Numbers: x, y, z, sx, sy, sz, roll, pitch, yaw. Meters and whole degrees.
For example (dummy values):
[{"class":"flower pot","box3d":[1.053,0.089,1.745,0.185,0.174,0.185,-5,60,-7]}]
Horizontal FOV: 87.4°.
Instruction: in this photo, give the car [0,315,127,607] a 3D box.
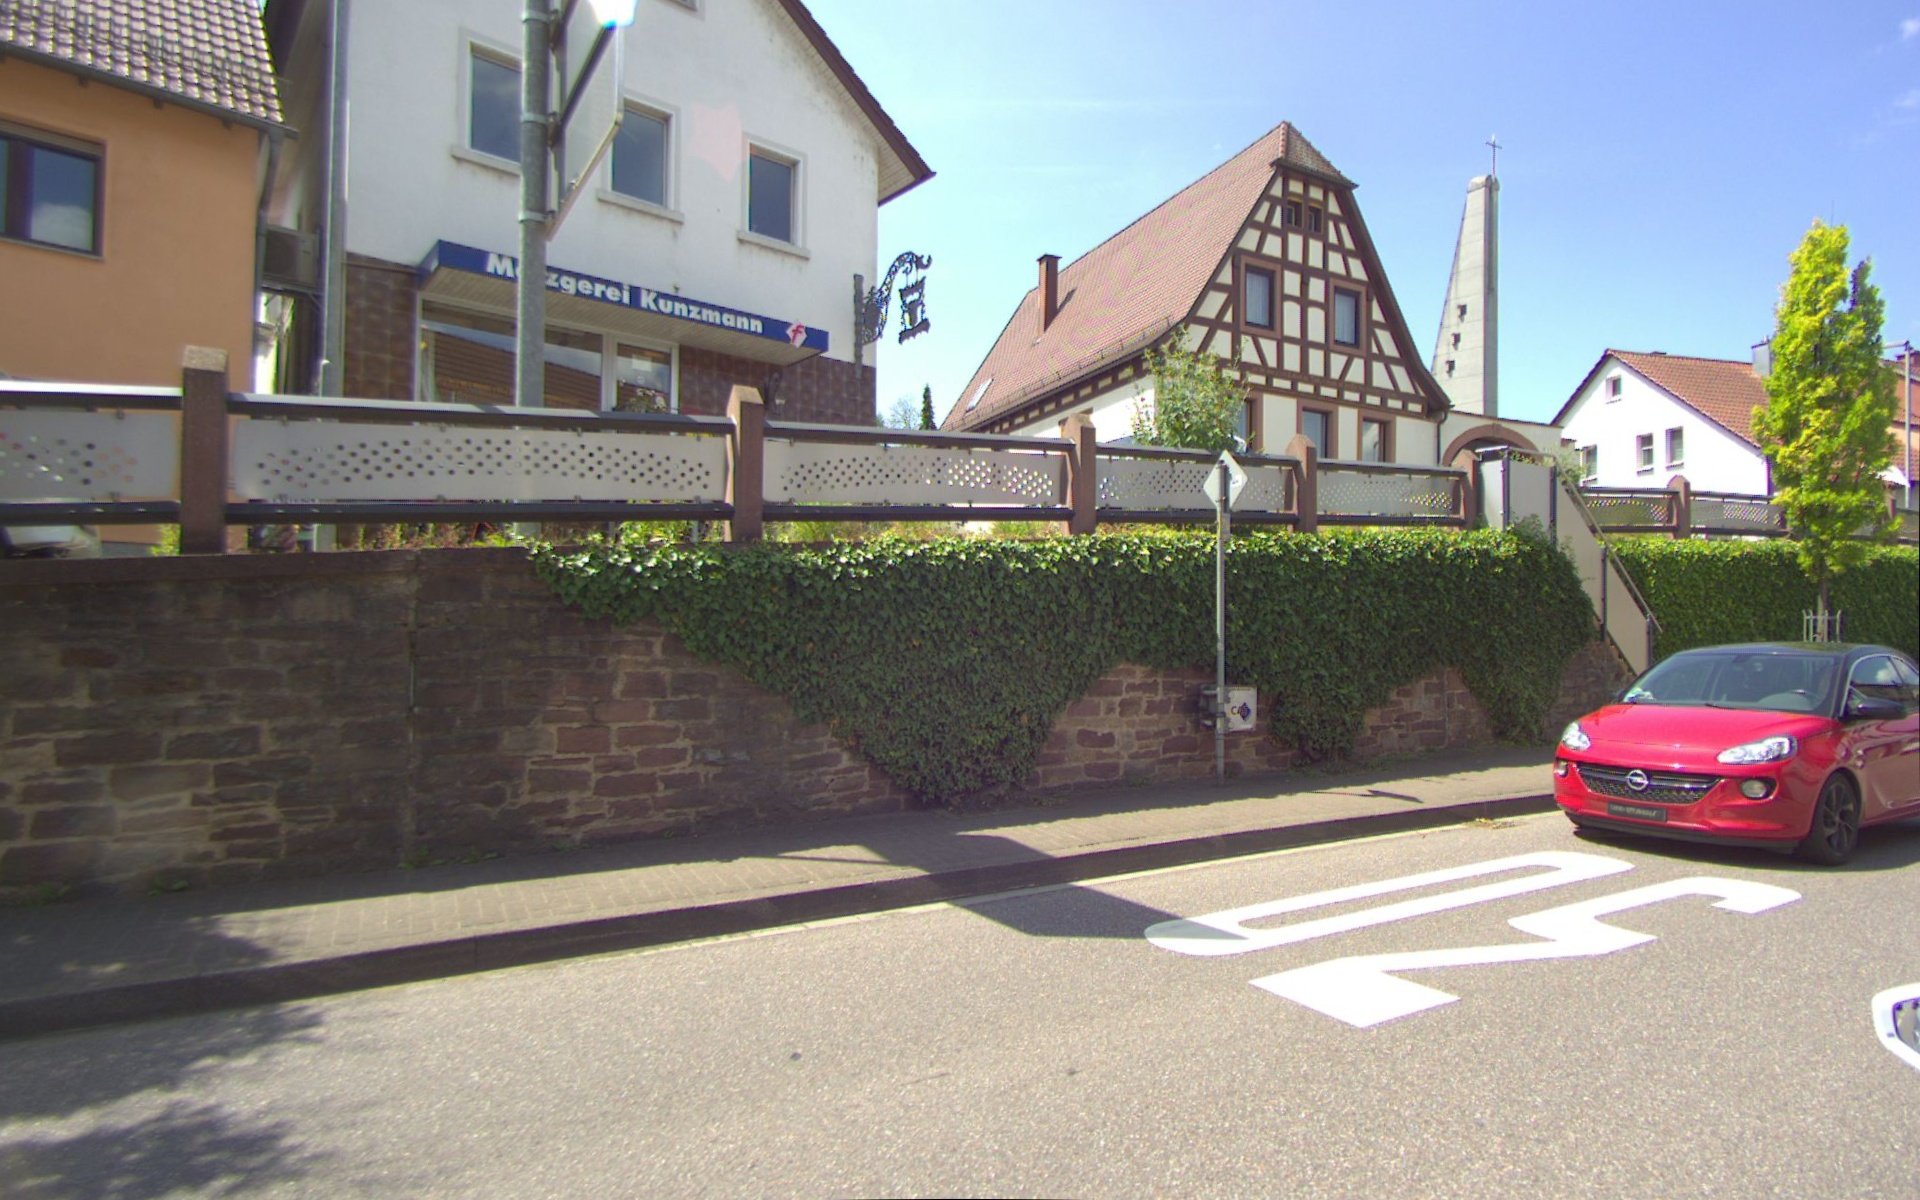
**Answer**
[{"class":"car","box3d":[-6.993,-0.644,5.243,3.815,1.564,1.683,-5,3,-35]}]

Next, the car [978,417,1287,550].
[{"class":"car","box3d":[2.255,-1.440,12.718,3.815,1.380,1.566,-5,3,-35]}]

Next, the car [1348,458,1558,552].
[{"class":"car","box3d":[8.521,-1.636,17.253,3.815,1.380,1.566,-5,3,-35]}]

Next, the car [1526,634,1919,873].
[{"class":"car","box3d":[6.316,1.025,7.806,3.755,1.463,1.610,2,-3,-29]}]
